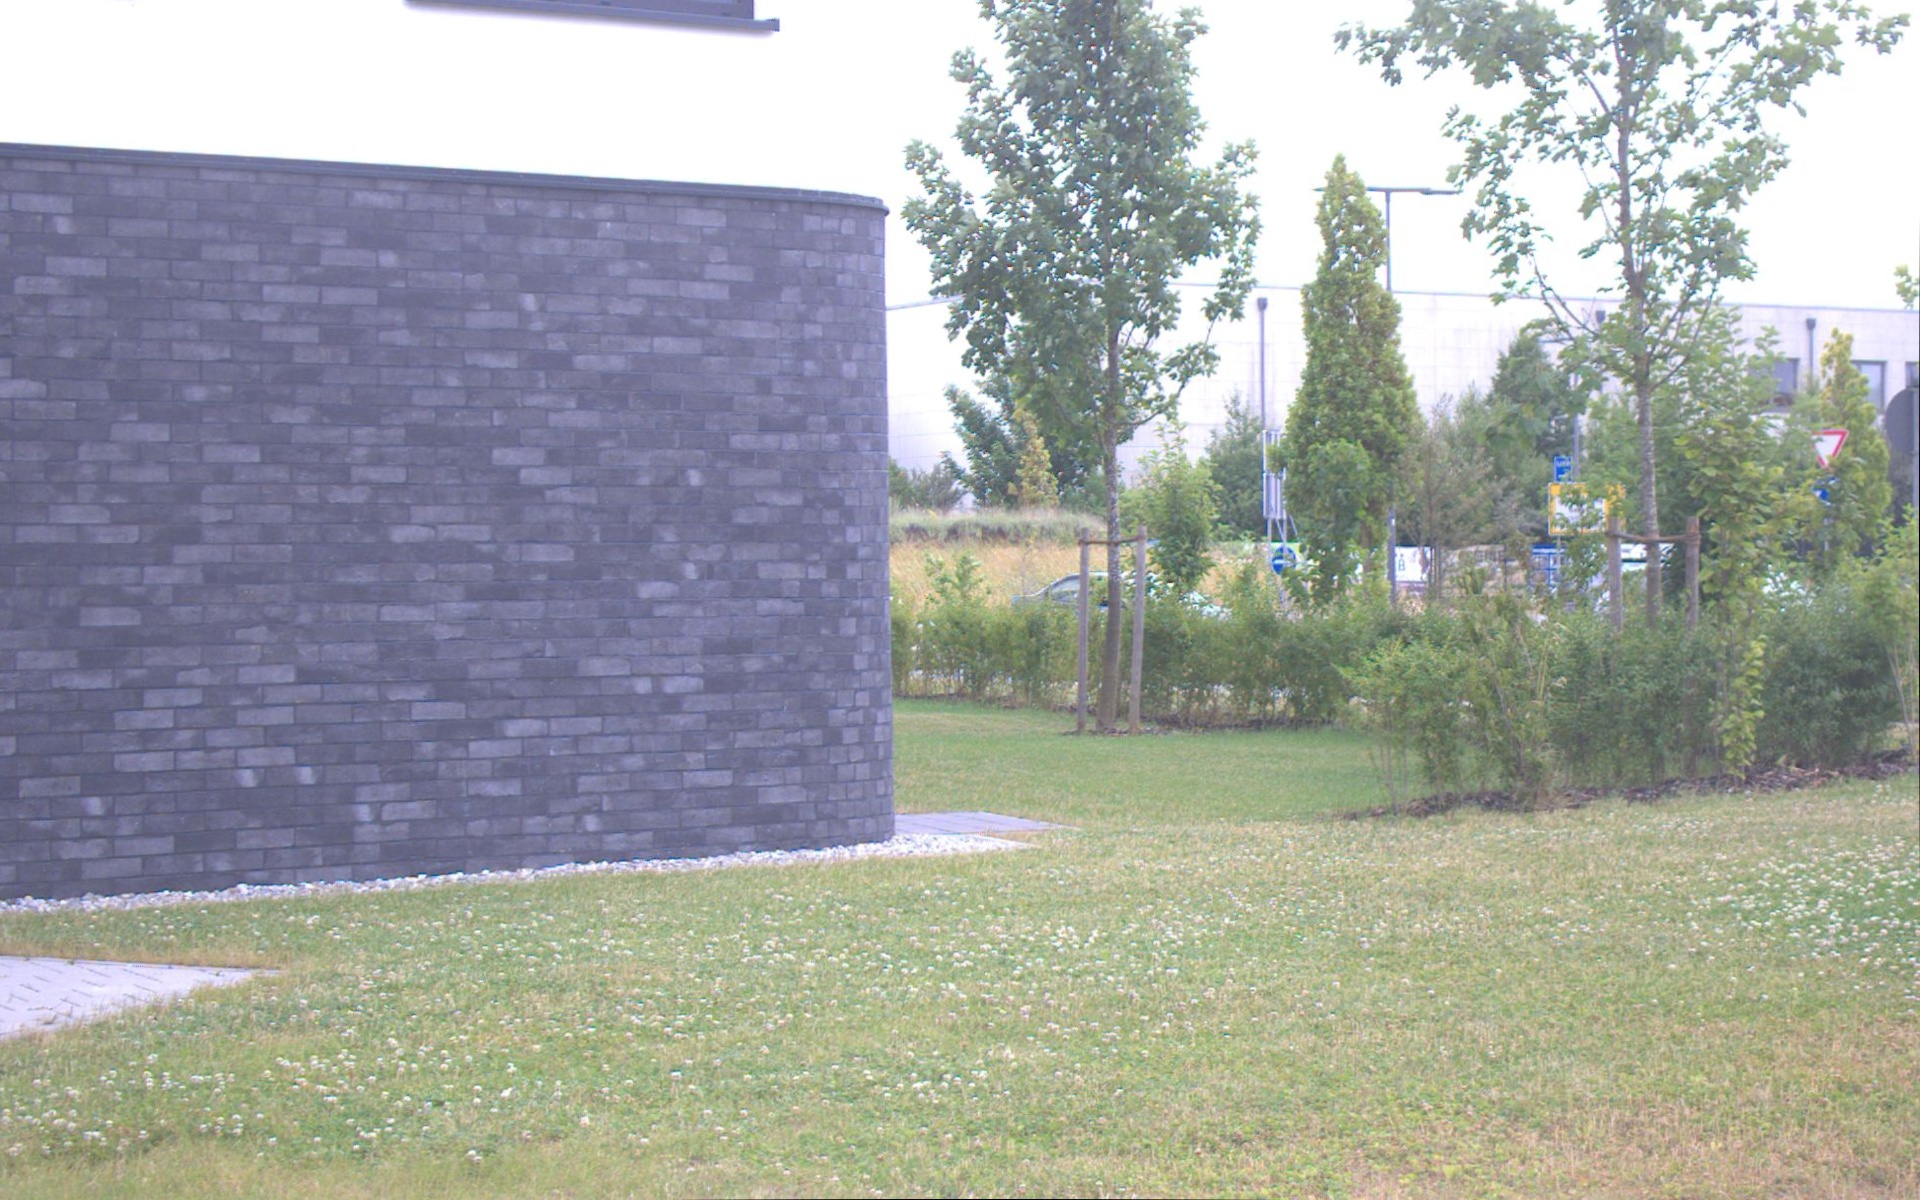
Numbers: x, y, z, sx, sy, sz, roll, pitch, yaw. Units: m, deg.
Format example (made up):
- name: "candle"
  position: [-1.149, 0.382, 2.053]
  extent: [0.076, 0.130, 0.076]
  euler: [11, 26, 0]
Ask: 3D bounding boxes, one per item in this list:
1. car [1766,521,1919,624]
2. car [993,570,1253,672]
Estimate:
- name: "car"
  position: [12.876, -0.391, 46.709]
  extent: [1.712, 1.338, 3.965]
  euler: [-1, 2, -23]
- name: "car"
  position: [2.314, 0.276, 49.896]
  extent: [1.753, 1.382, 4.302]
  euler: [-1, 1, -29]
